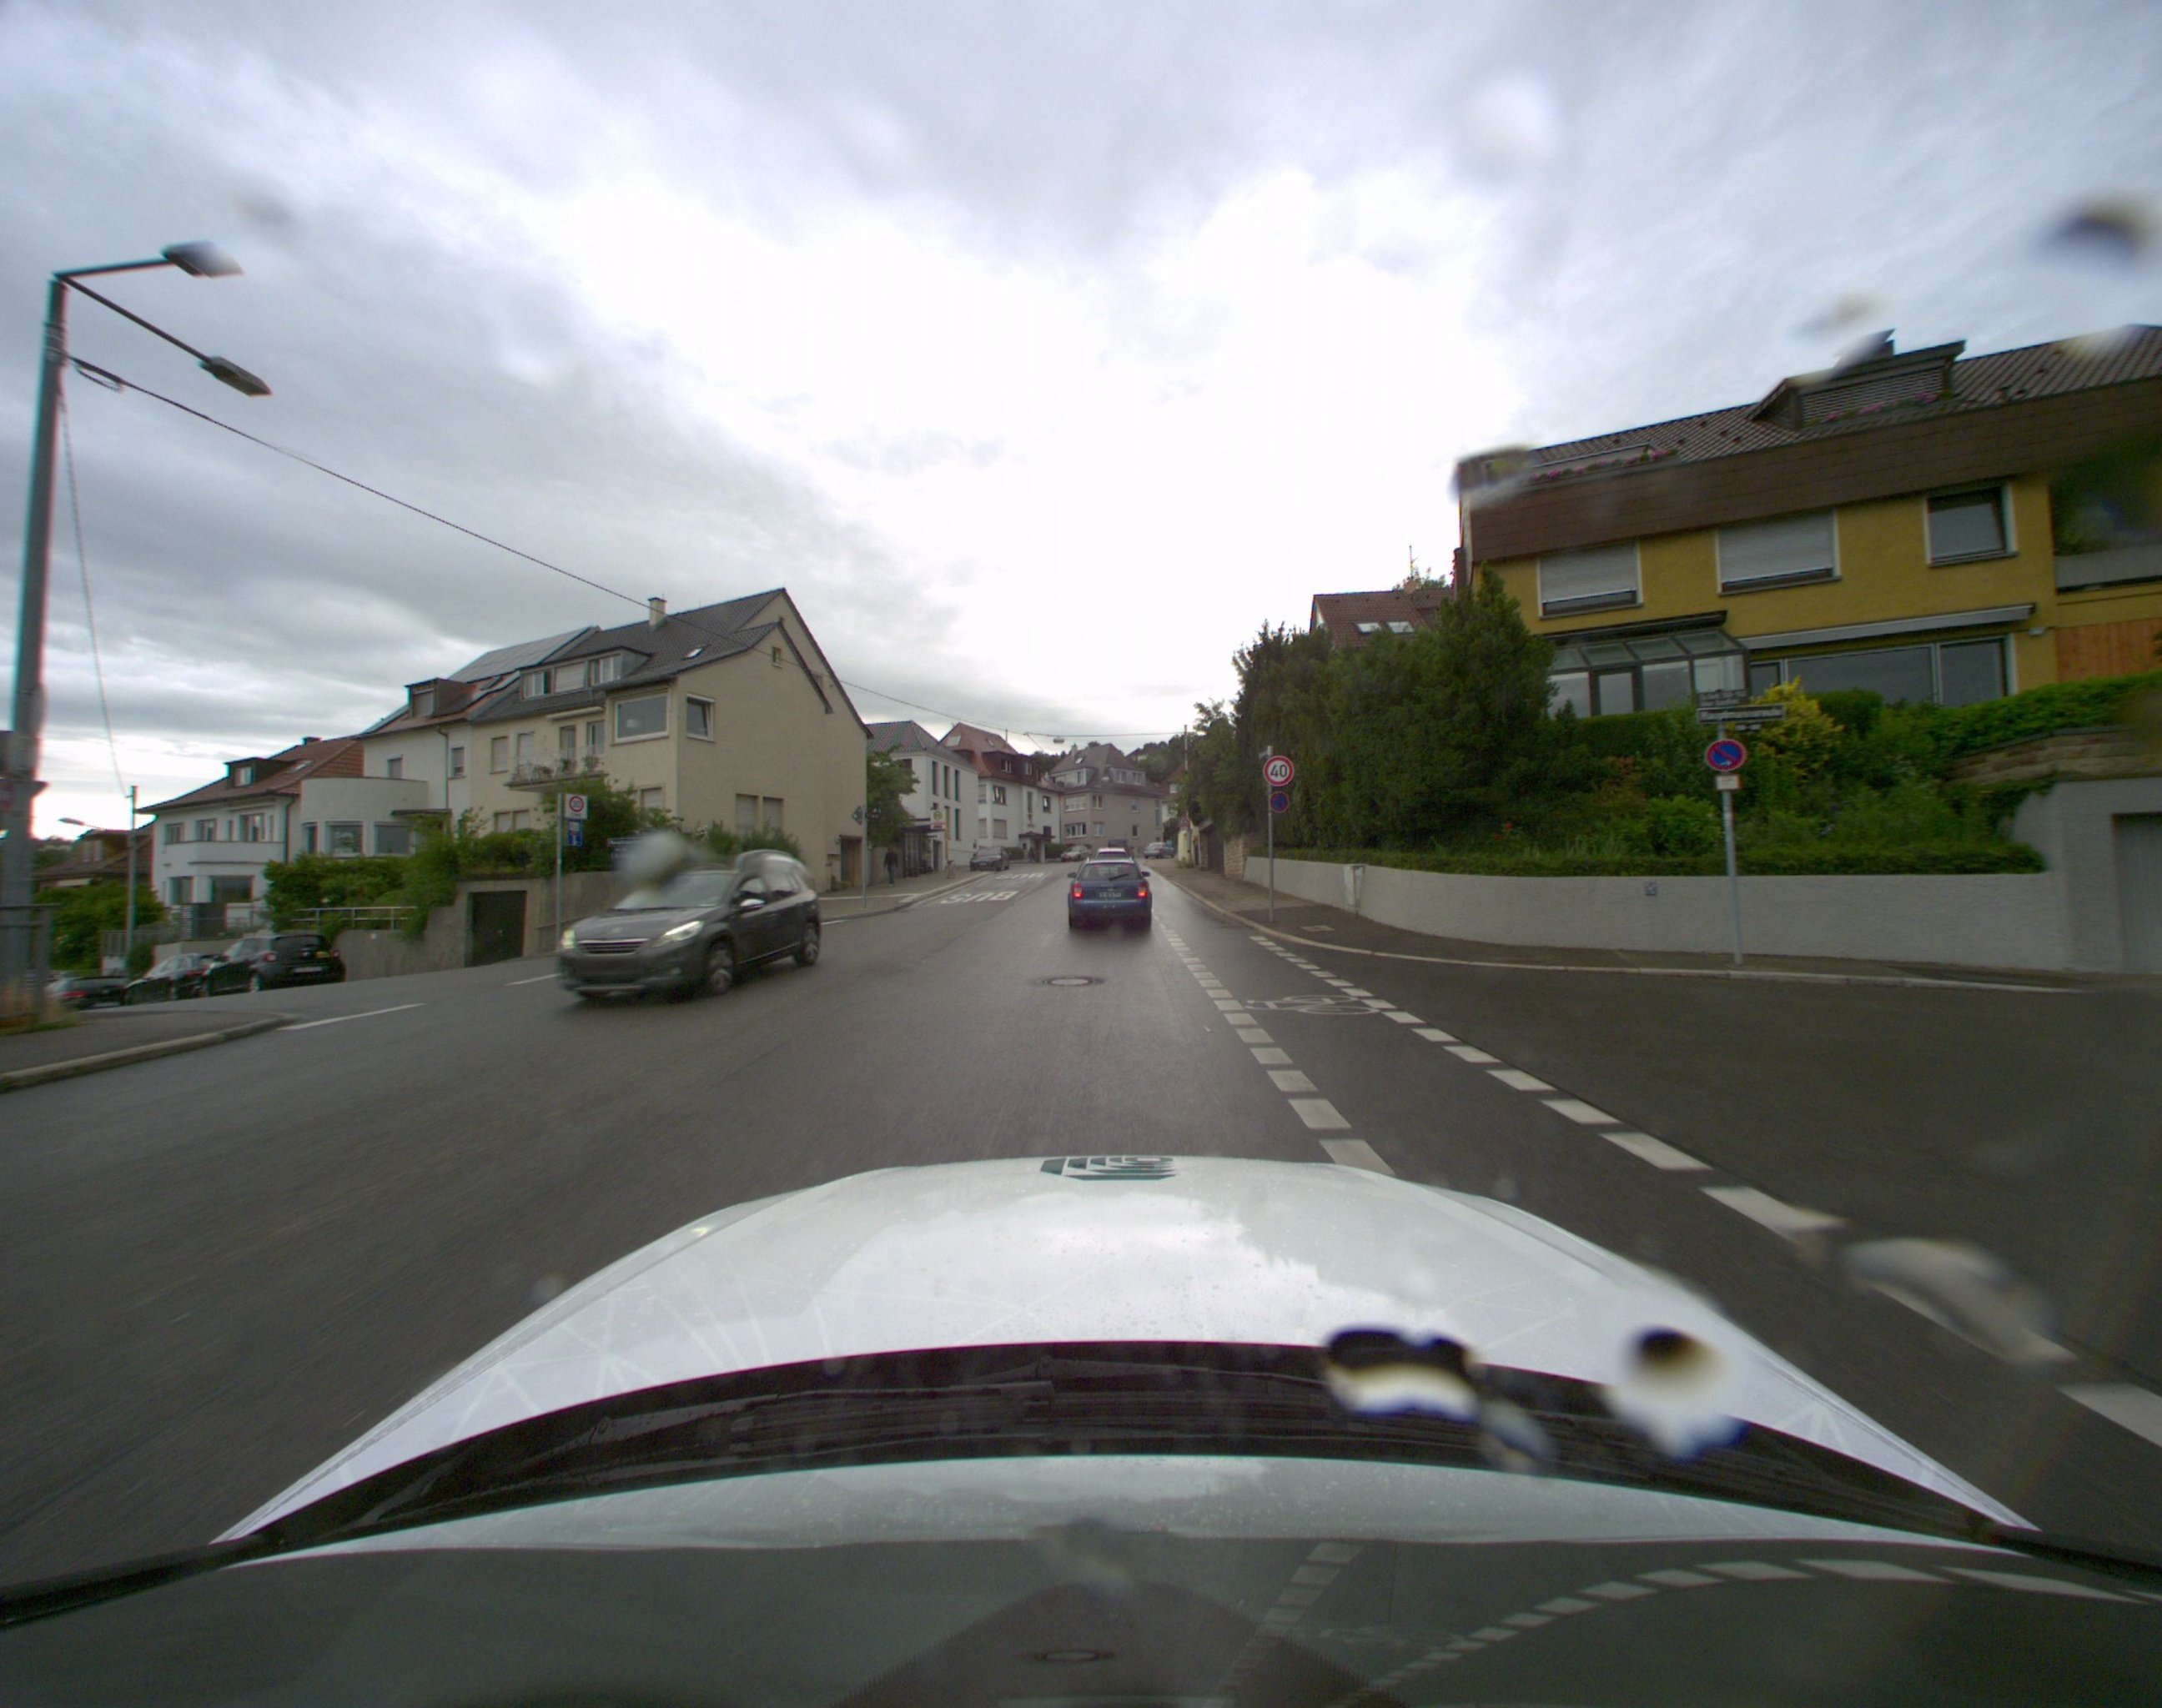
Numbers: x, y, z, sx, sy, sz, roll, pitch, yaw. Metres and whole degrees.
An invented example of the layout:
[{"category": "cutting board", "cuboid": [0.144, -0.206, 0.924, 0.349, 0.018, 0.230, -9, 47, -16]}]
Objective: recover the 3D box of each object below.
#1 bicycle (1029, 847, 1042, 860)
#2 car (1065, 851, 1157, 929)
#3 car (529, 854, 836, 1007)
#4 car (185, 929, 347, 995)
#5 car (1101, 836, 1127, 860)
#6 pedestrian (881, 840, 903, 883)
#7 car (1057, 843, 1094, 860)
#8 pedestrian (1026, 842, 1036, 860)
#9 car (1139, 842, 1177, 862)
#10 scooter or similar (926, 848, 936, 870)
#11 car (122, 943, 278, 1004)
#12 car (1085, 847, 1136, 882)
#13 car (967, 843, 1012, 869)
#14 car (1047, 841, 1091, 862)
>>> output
[{"category": "bicycle", "cuboid": [-4.087, -0.025, 73.184, 0.452, 1.067, 1.931, -2, 1, 20]}, {"category": "car", "cuboid": [0.668, 0.702, 18.028, 1.804, 1.439, 4.084, 0, 1, 2]}, {"category": "car", "cuboid": [-4.862, 0.825, 10.680, 1.725, 1.545, 4.006, -3, 0, 5]}, {"category": "car", "cuboid": [-20.960, 2.777, 20.938, 3.951, 1.271, 1.662, -8, -6, 24]}, {"category": "car", "cuboid": [2.525, -0.451, 62.608, 1.921, 1.706, 4.002, -3, 0, 2]}, {"category": "pedestrian", "cuboid": [-8.327, 0.326, 35.886, 0.783, 1.857, 0.728, -1, 0, 1]}, {"category": "car", "cuboid": [-0.476, -0.264, 76.663, 1.819, 1.425, 4.254, -4, 0, 24]}, {"category": "pedestrian", "cuboid": [-4.499, -0.292, 73.455, 0.488, 1.577, 0.952, -2, 1, 20]}, {"category": "car", "cuboid": [7.014, -0.202, 74.028, 1.910, 1.706, 4.025, -3, 0, 28]}, {"category": "scooter or similar", "cuboid": [-8.588, 0.287, 46.639, 0.336, 1.219, 1.123, -1, 1, 3]}, {"category": "car", "cuboid": [-24.576, 3.339, 22.726, 3.951, 1.271, 1.818, -8, -6, 24]}, {"category": "car", "cuboid": [1.167, 0.419, 34.011, 1.807, 1.361, 3.996, 0, 0, -3]}, {"category": "car", "cuboid": [-5.735, 0.106, 51.571, 1.820, 1.485, 4.998, -2, 0, 5]}, {"category": "car", "cuboid": [-1.289, -0.263, 85.803, 3.949, 1.822, 2.013, -7, -2, 29]}]
